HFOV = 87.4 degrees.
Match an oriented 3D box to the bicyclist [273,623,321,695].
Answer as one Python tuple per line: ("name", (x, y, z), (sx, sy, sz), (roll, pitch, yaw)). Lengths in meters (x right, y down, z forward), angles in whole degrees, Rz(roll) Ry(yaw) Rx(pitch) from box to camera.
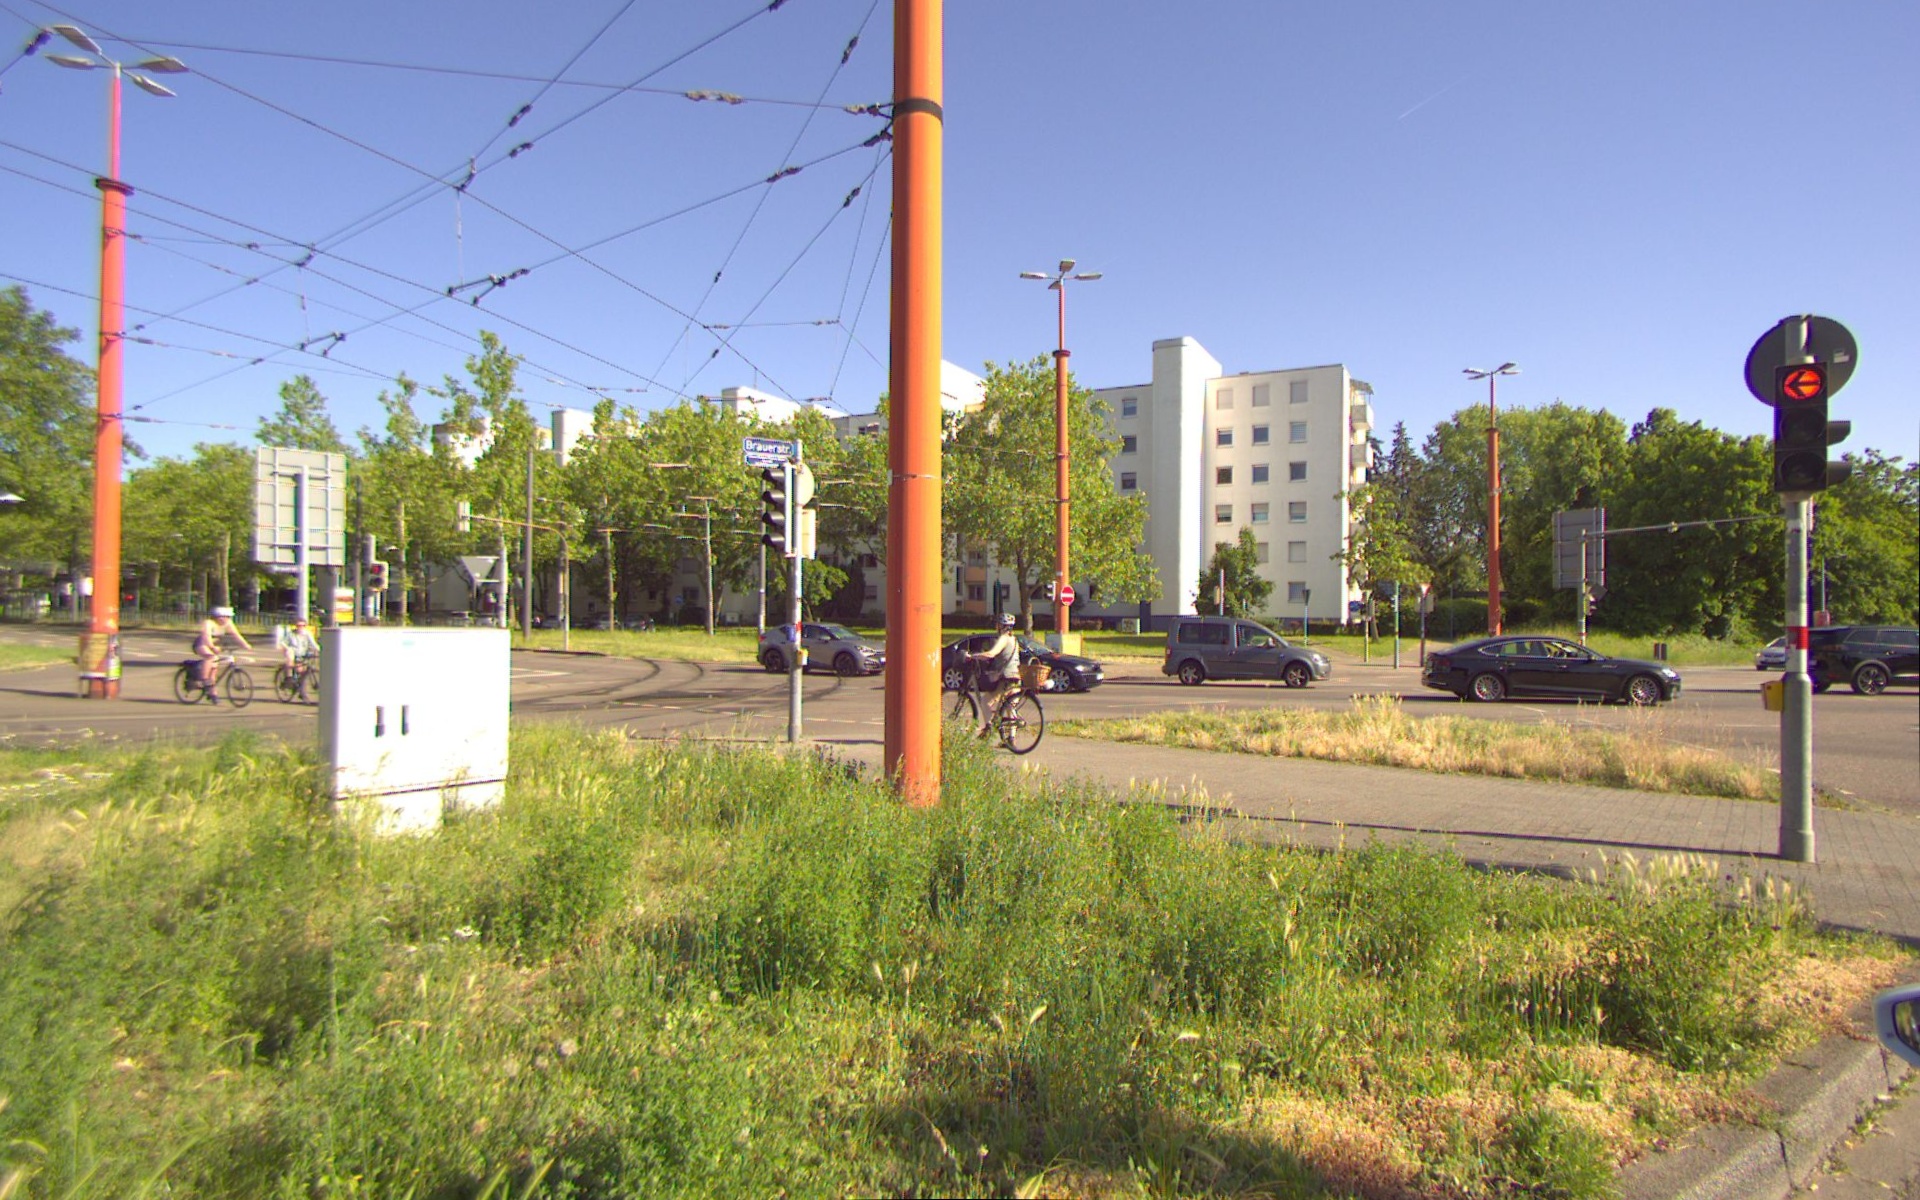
("bicyclist", (-13.141, 1.157, 19.916), (0.616, 1.399, 0.443), (1, -1, -1))

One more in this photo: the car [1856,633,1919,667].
("car", (37.154, 1.965, 39.621), (3.571, 1.260, 1.730), (1, -1, -31))

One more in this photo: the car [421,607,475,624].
("car", (-44.788, 1.389, 87.902), (3.935, 1.428, 1.794), (1, -1, -17))

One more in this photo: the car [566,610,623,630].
("car", (-27.577, 1.488, 75.925), (3.934, 1.428, 1.794), (1, -1, -16))

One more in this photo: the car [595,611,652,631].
("car", (-24.995, 1.558, 74.701), (3.934, 1.428, 1.794), (1, -1, -16))

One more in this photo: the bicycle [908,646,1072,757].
("bicycle", (0.348, 1.192, 12.217), (1.915, 1.210, 0.690), (0, -1, 33))

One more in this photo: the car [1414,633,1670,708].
("car", (11.860, 1.405, 20.783), (4.275, 1.368, 1.766), (0, -1, 16))

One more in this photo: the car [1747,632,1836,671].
("car", (35.207, 2.144, 42.515), (3.891, 1.552, 1.752), (1, -1, -31))

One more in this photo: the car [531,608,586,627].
("car", (-31.937, 1.371, 79.977), (3.935, 1.428, 1.794), (1, -1, -17))

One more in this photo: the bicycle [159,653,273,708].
("bicycle", (-13.949, 1.497, 18.861), (1.612, 0.974, 0.685), (1, -1, -1))

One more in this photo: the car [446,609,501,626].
("car", (-41.433, 1.487, 85.631), (3.935, 1.428, 1.794), (1, -1, -17))

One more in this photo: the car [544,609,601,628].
("car", (-30.075, 1.420, 78.080), (3.934, 1.428, 1.794), (1, -1, -16))

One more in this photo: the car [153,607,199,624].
("car", (-93.985, 1.882, 120.466), (1.969, 2.040, 3.984), (0, -1, 38))

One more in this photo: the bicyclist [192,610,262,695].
("bicyclist", (-13.819, 0.980, 18.954), (0.752, 1.565, 0.732), (1, -1, -1))

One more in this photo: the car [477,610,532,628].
("car", (-38.030, 1.569, 83.890), (3.935, 1.428, 1.794), (1, -1, -17))

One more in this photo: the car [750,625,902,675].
("car", (-4.170, 1.517, 31.283), (4.351, 1.441, 1.836), (0, -1, 23))

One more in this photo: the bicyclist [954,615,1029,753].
("bicyclist", (0.388, 0.991, 12.198), (0.651, 1.605, 0.671), (0, -1, 33))

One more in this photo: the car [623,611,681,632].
("car", (-22.255, 1.550, 72.650), (3.934, 1.428, 1.794), (1, -1, -16))

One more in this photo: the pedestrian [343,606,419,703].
("pedestrian", (-11.236, 1.037, 19.496), (0.972, 1.817, 0.951), (0, -1, 37))

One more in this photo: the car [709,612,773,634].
("car", (-14.542, 1.553, 66.846), (1.770, 1.428, 3.987), (0, -1, 35))

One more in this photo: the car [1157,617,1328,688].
("car", (7.491, 1.346, 26.694), (4.221, 1.730, 1.852), (0, -1, 18))

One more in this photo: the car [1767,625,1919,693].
("car", (22.518, 1.419, 24.417), (4.175, 1.566, 1.859), (0, -1, 7))

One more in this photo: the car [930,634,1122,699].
("car", (1.590, 1.544, 24.208), (4.280, 1.368, 1.764), (0, -1, 25))
